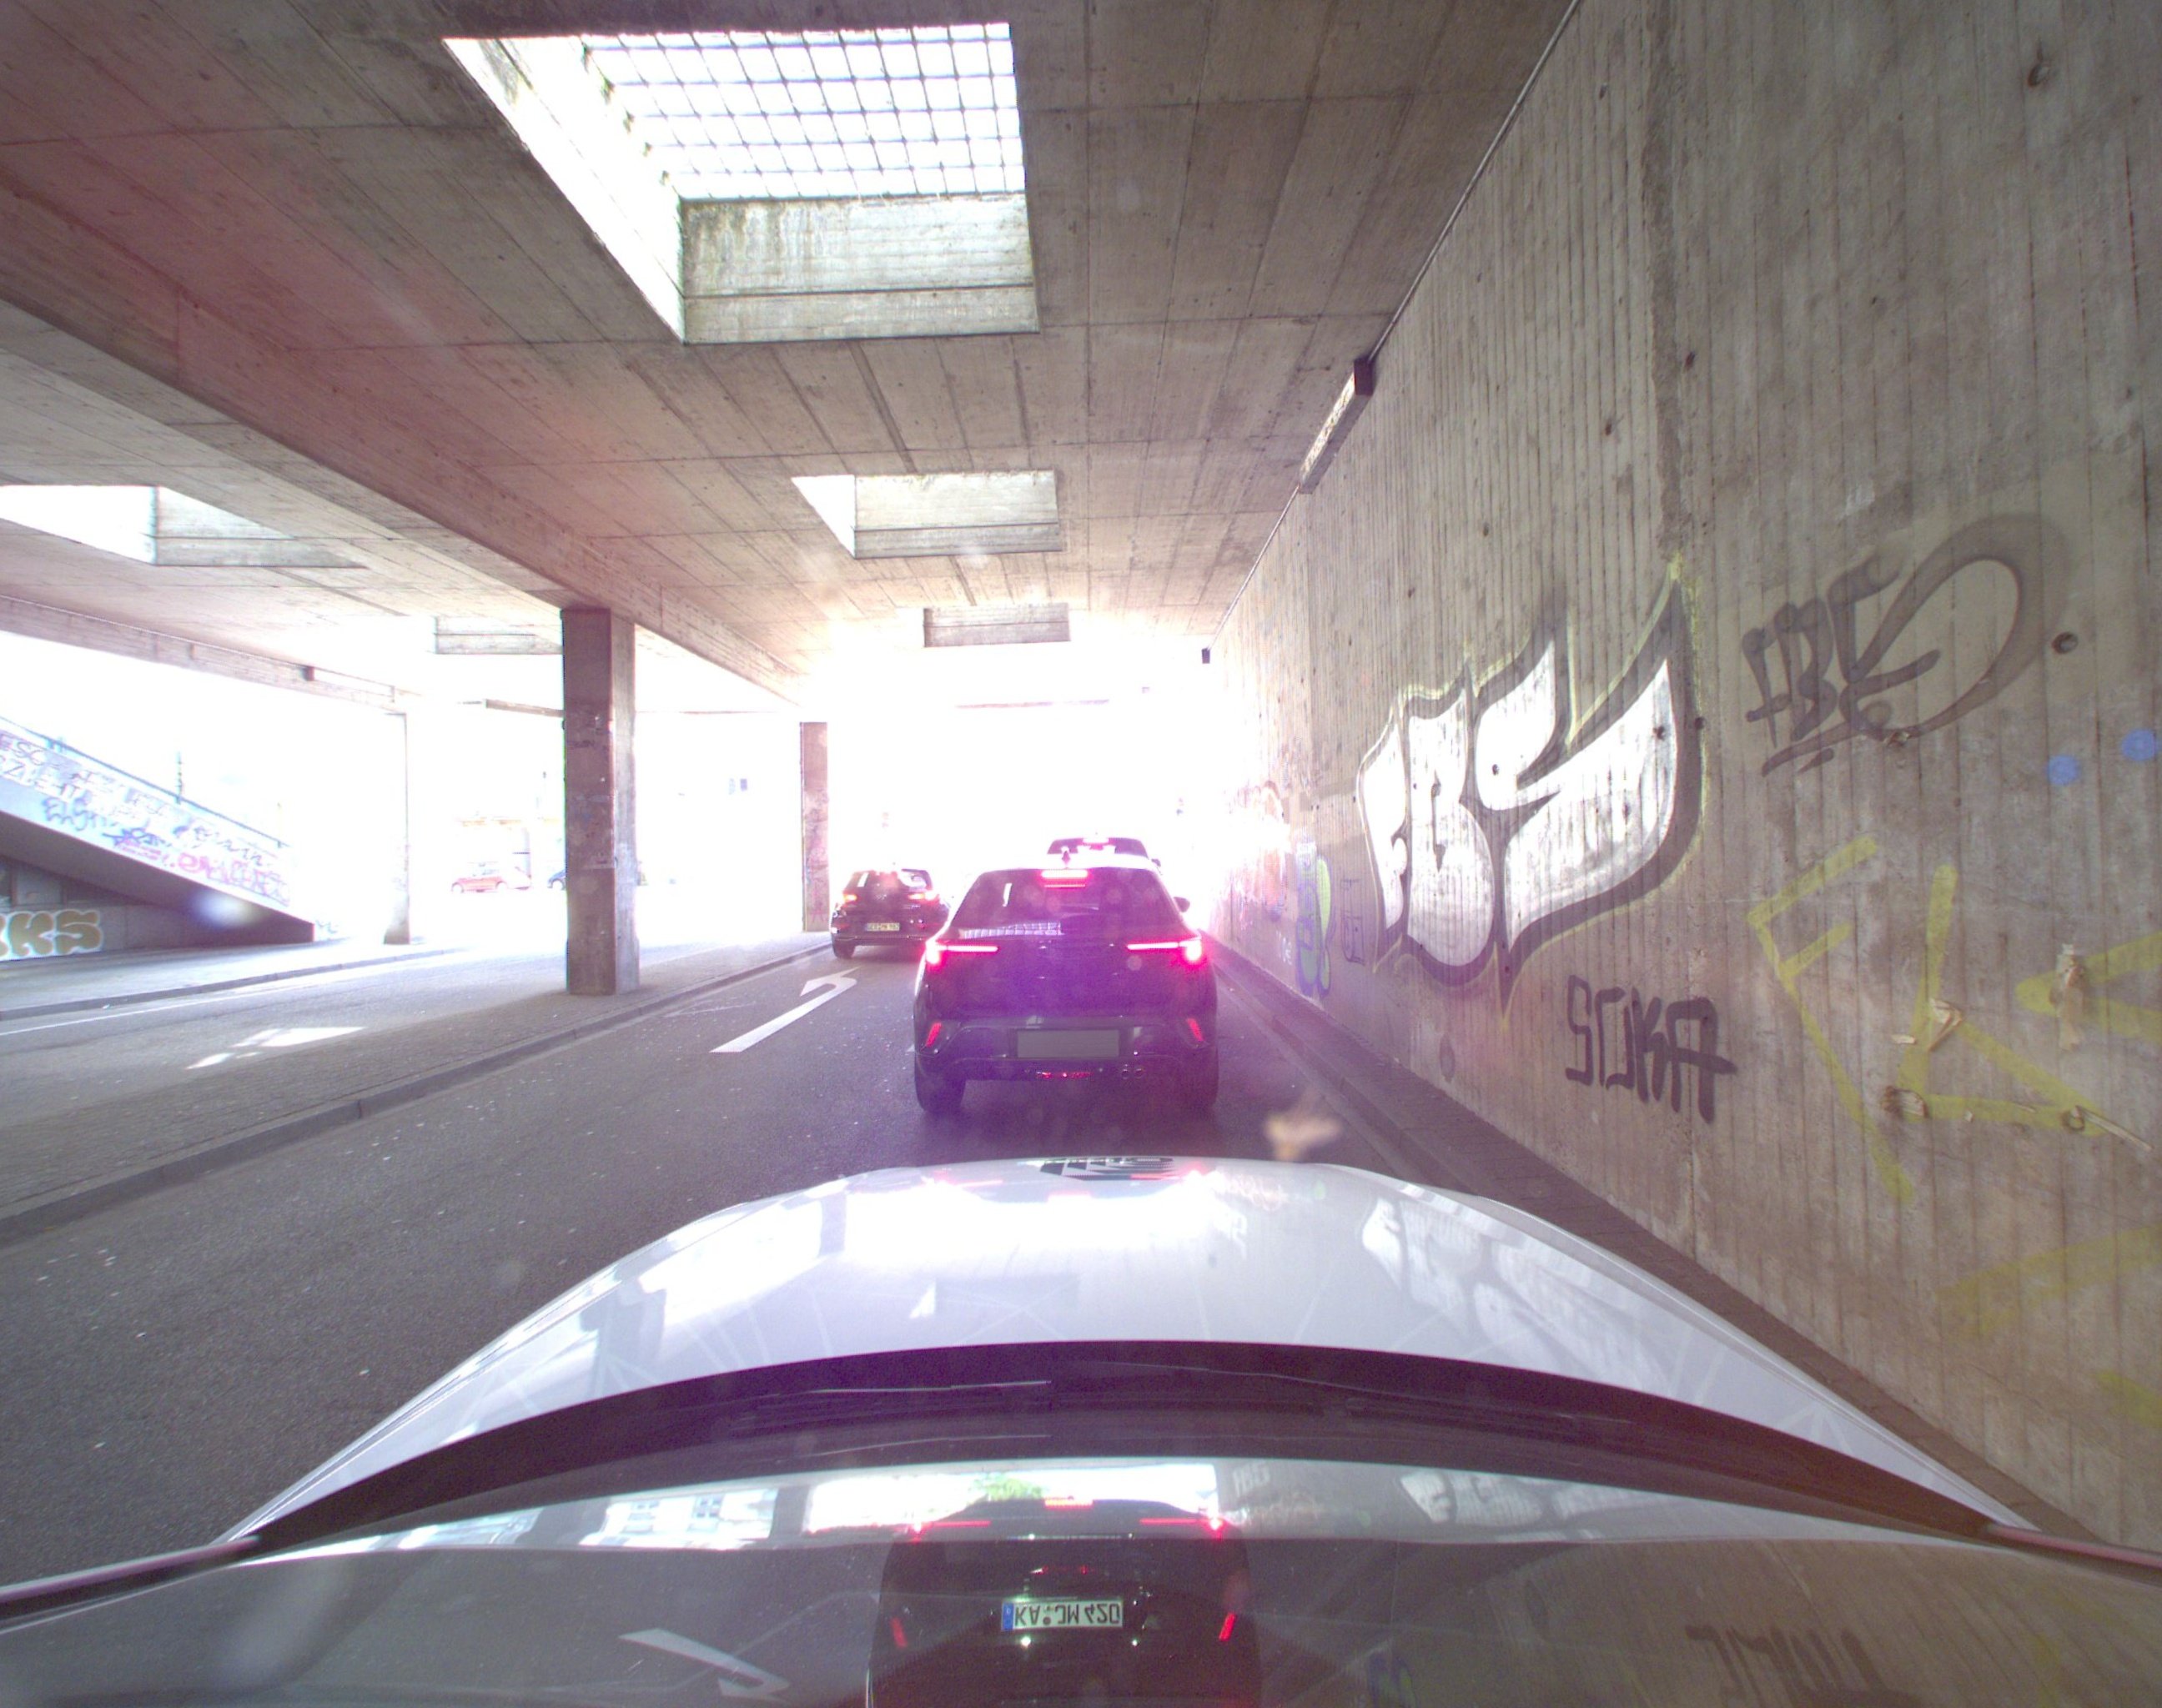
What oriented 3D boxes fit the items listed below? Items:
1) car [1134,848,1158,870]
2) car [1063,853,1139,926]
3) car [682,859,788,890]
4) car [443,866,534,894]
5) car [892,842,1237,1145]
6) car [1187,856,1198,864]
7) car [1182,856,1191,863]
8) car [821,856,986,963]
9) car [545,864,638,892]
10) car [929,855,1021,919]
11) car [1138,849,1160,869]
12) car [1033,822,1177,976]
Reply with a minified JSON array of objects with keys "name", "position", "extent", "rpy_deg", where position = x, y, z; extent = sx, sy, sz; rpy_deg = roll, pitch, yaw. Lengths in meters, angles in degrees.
[{"name":"car","position":[4.970,0.376,62.276],"extent":[1.745,1.667,3.950],"rpy_deg":[0,-1,6]},{"name":"car","position":[0.496,0.759,19.407],"extent":[1.603,1.513,4.055],"rpy_deg":[-1,0,2]},{"name":"car","position":[-16.614,0.973,39.195],"extent":[4.260,1.398,1.885],"rpy_deg":[-1,-1,4]},{"name":"car","position":[-32.926,1.441,45.293],"extent":[3.748,1.475,1.749],"rpy_deg":[-1,-1,0]},{"name":"car","position":[-0.025,0.725,6.250],"extent":[1.755,1.531,4.091],"rpy_deg":[-1,0,2]},{"name":"car","position":[23.218,1.284,169.420],"extent":[1.805,1.667,4.833],"rpy_deg":[-1,-1,13]},{"name":"car","position":[23.685,1.219,182.871],"extent":[1.742,1.667,3.958],"rpy_deg":[-1,-1,13]},{"name":"car","position":[-2.746,0.798,13.508],"extent":[1.755,1.480,3.846],"rpy_deg":[-1,0,2]},{"name":"car","position":[-27.170,1.318,45.316],"extent":[4.096,1.475,1.737],"rpy_deg":[-1,-1,0]},{"name":"car","position":[-2.657,0.794,21.237],"extent":[1.755,1.480,3.846],"rpy_deg":[-1,0,2]},{"name":"car","position":[5.758,0.420,68.381],"extent":[1.745,1.667,3.950],"rpy_deg":[0,-1,6]},{"name":"car","position":[0.360,0.565,12.189],"extent":[1.755,1.883,4.148],"rpy_deg":[-1,0,2]}]
